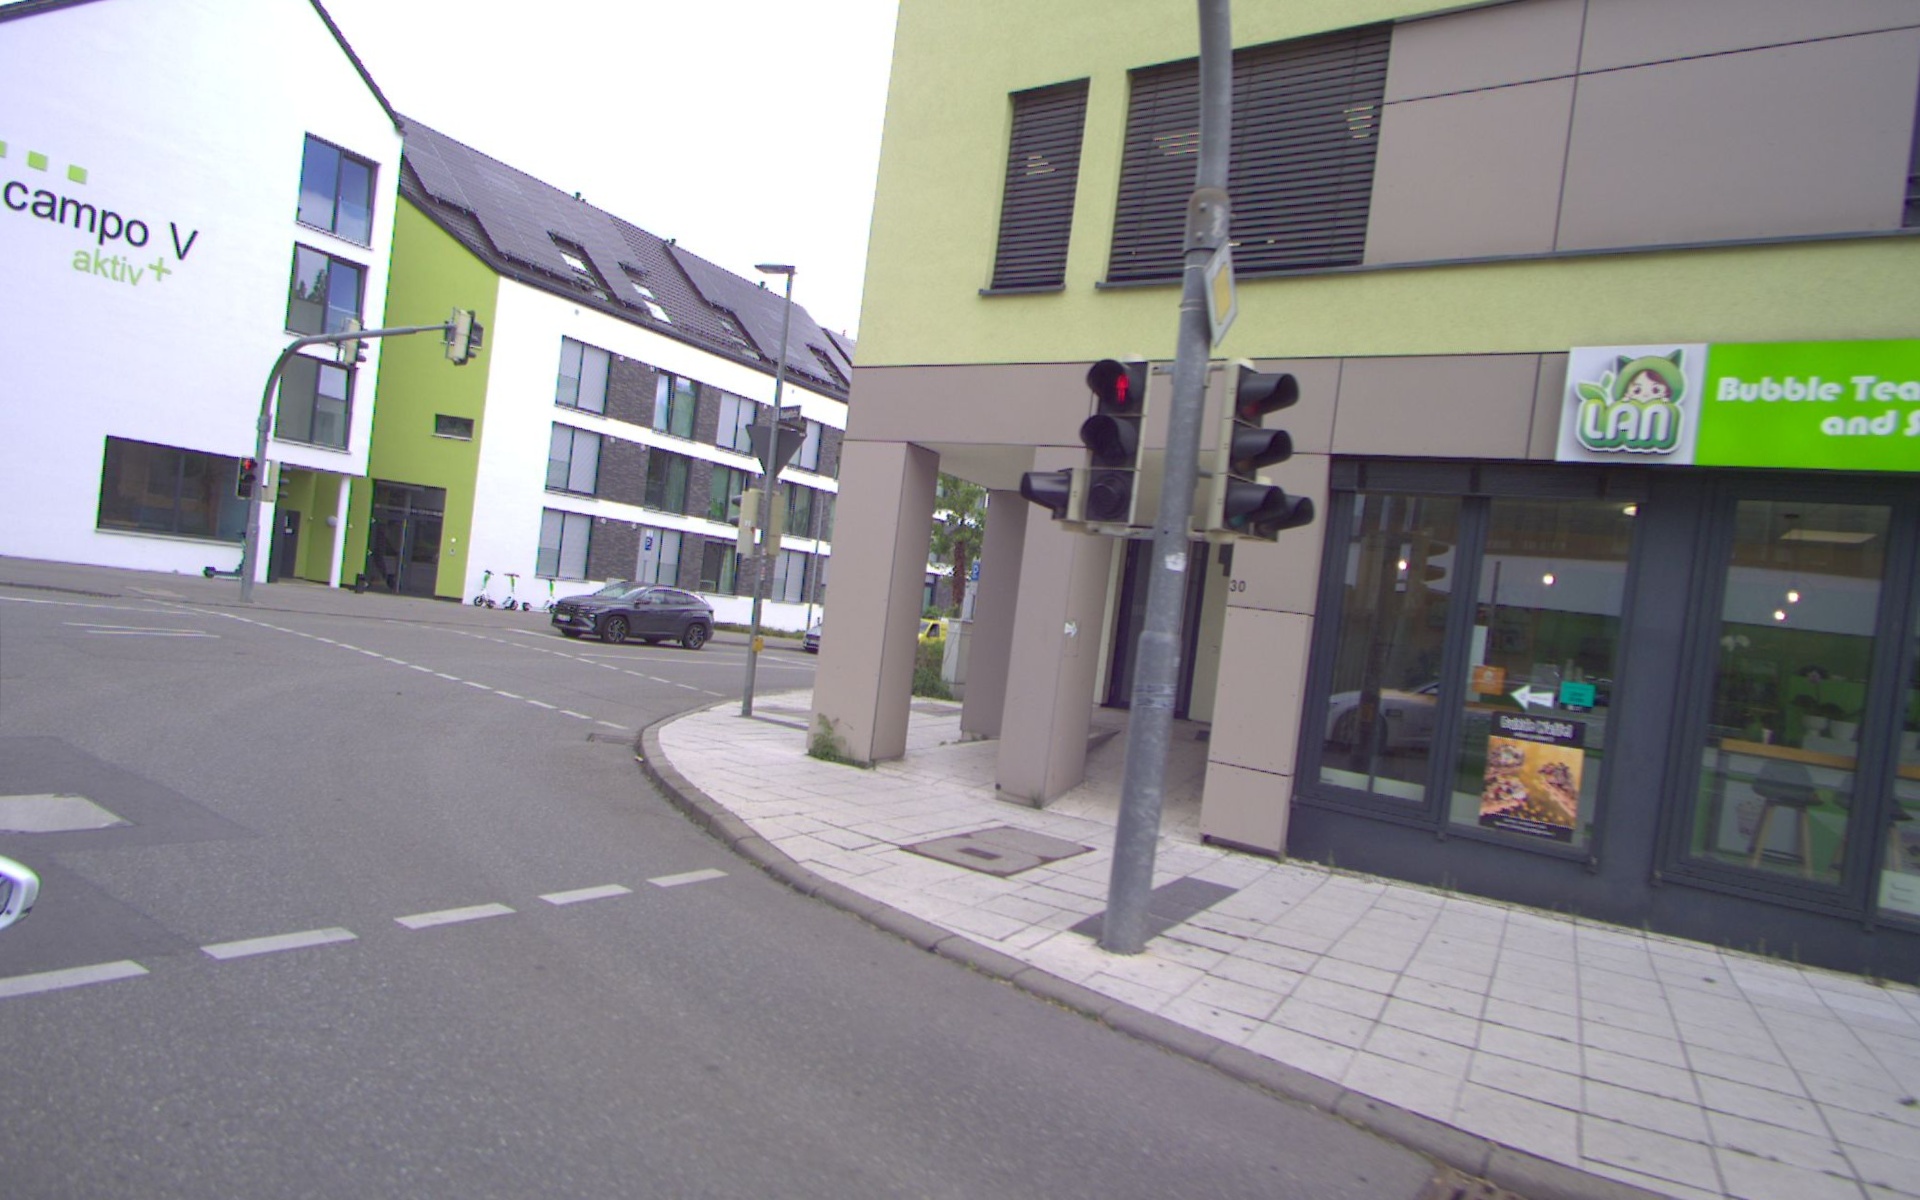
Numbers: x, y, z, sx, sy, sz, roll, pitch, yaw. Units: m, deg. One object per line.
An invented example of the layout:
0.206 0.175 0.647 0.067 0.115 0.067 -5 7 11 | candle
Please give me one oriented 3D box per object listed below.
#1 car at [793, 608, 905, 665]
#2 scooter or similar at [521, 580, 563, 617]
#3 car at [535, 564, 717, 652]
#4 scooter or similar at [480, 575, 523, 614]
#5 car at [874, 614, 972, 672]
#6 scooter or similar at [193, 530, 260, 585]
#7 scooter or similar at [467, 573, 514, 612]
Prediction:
-4.194 1.440 38.704 1.778 1.648 4.420 7 -3 32 | car
-14.036 -0.031 33.764 0.358 1.091 1.175 7 -2 35 | scooter or similar
-8.615 0.271 26.284 1.920 1.677 4.097 7 -3 32 | car
-14.581 -0.174 32.048 0.357 1.091 1.233 7 -2 21 | scooter or similar
-1.519 1.888 43.588 1.778 1.946 4.628 7 -3 32 | car
-19.222 -1.104 26.378 0.400 1.249 1.232 7 -2 33 | scooter or similar
-15.173 -0.237 32.550 0.358 1.091 1.229 7 -2 39 | scooter or similar
